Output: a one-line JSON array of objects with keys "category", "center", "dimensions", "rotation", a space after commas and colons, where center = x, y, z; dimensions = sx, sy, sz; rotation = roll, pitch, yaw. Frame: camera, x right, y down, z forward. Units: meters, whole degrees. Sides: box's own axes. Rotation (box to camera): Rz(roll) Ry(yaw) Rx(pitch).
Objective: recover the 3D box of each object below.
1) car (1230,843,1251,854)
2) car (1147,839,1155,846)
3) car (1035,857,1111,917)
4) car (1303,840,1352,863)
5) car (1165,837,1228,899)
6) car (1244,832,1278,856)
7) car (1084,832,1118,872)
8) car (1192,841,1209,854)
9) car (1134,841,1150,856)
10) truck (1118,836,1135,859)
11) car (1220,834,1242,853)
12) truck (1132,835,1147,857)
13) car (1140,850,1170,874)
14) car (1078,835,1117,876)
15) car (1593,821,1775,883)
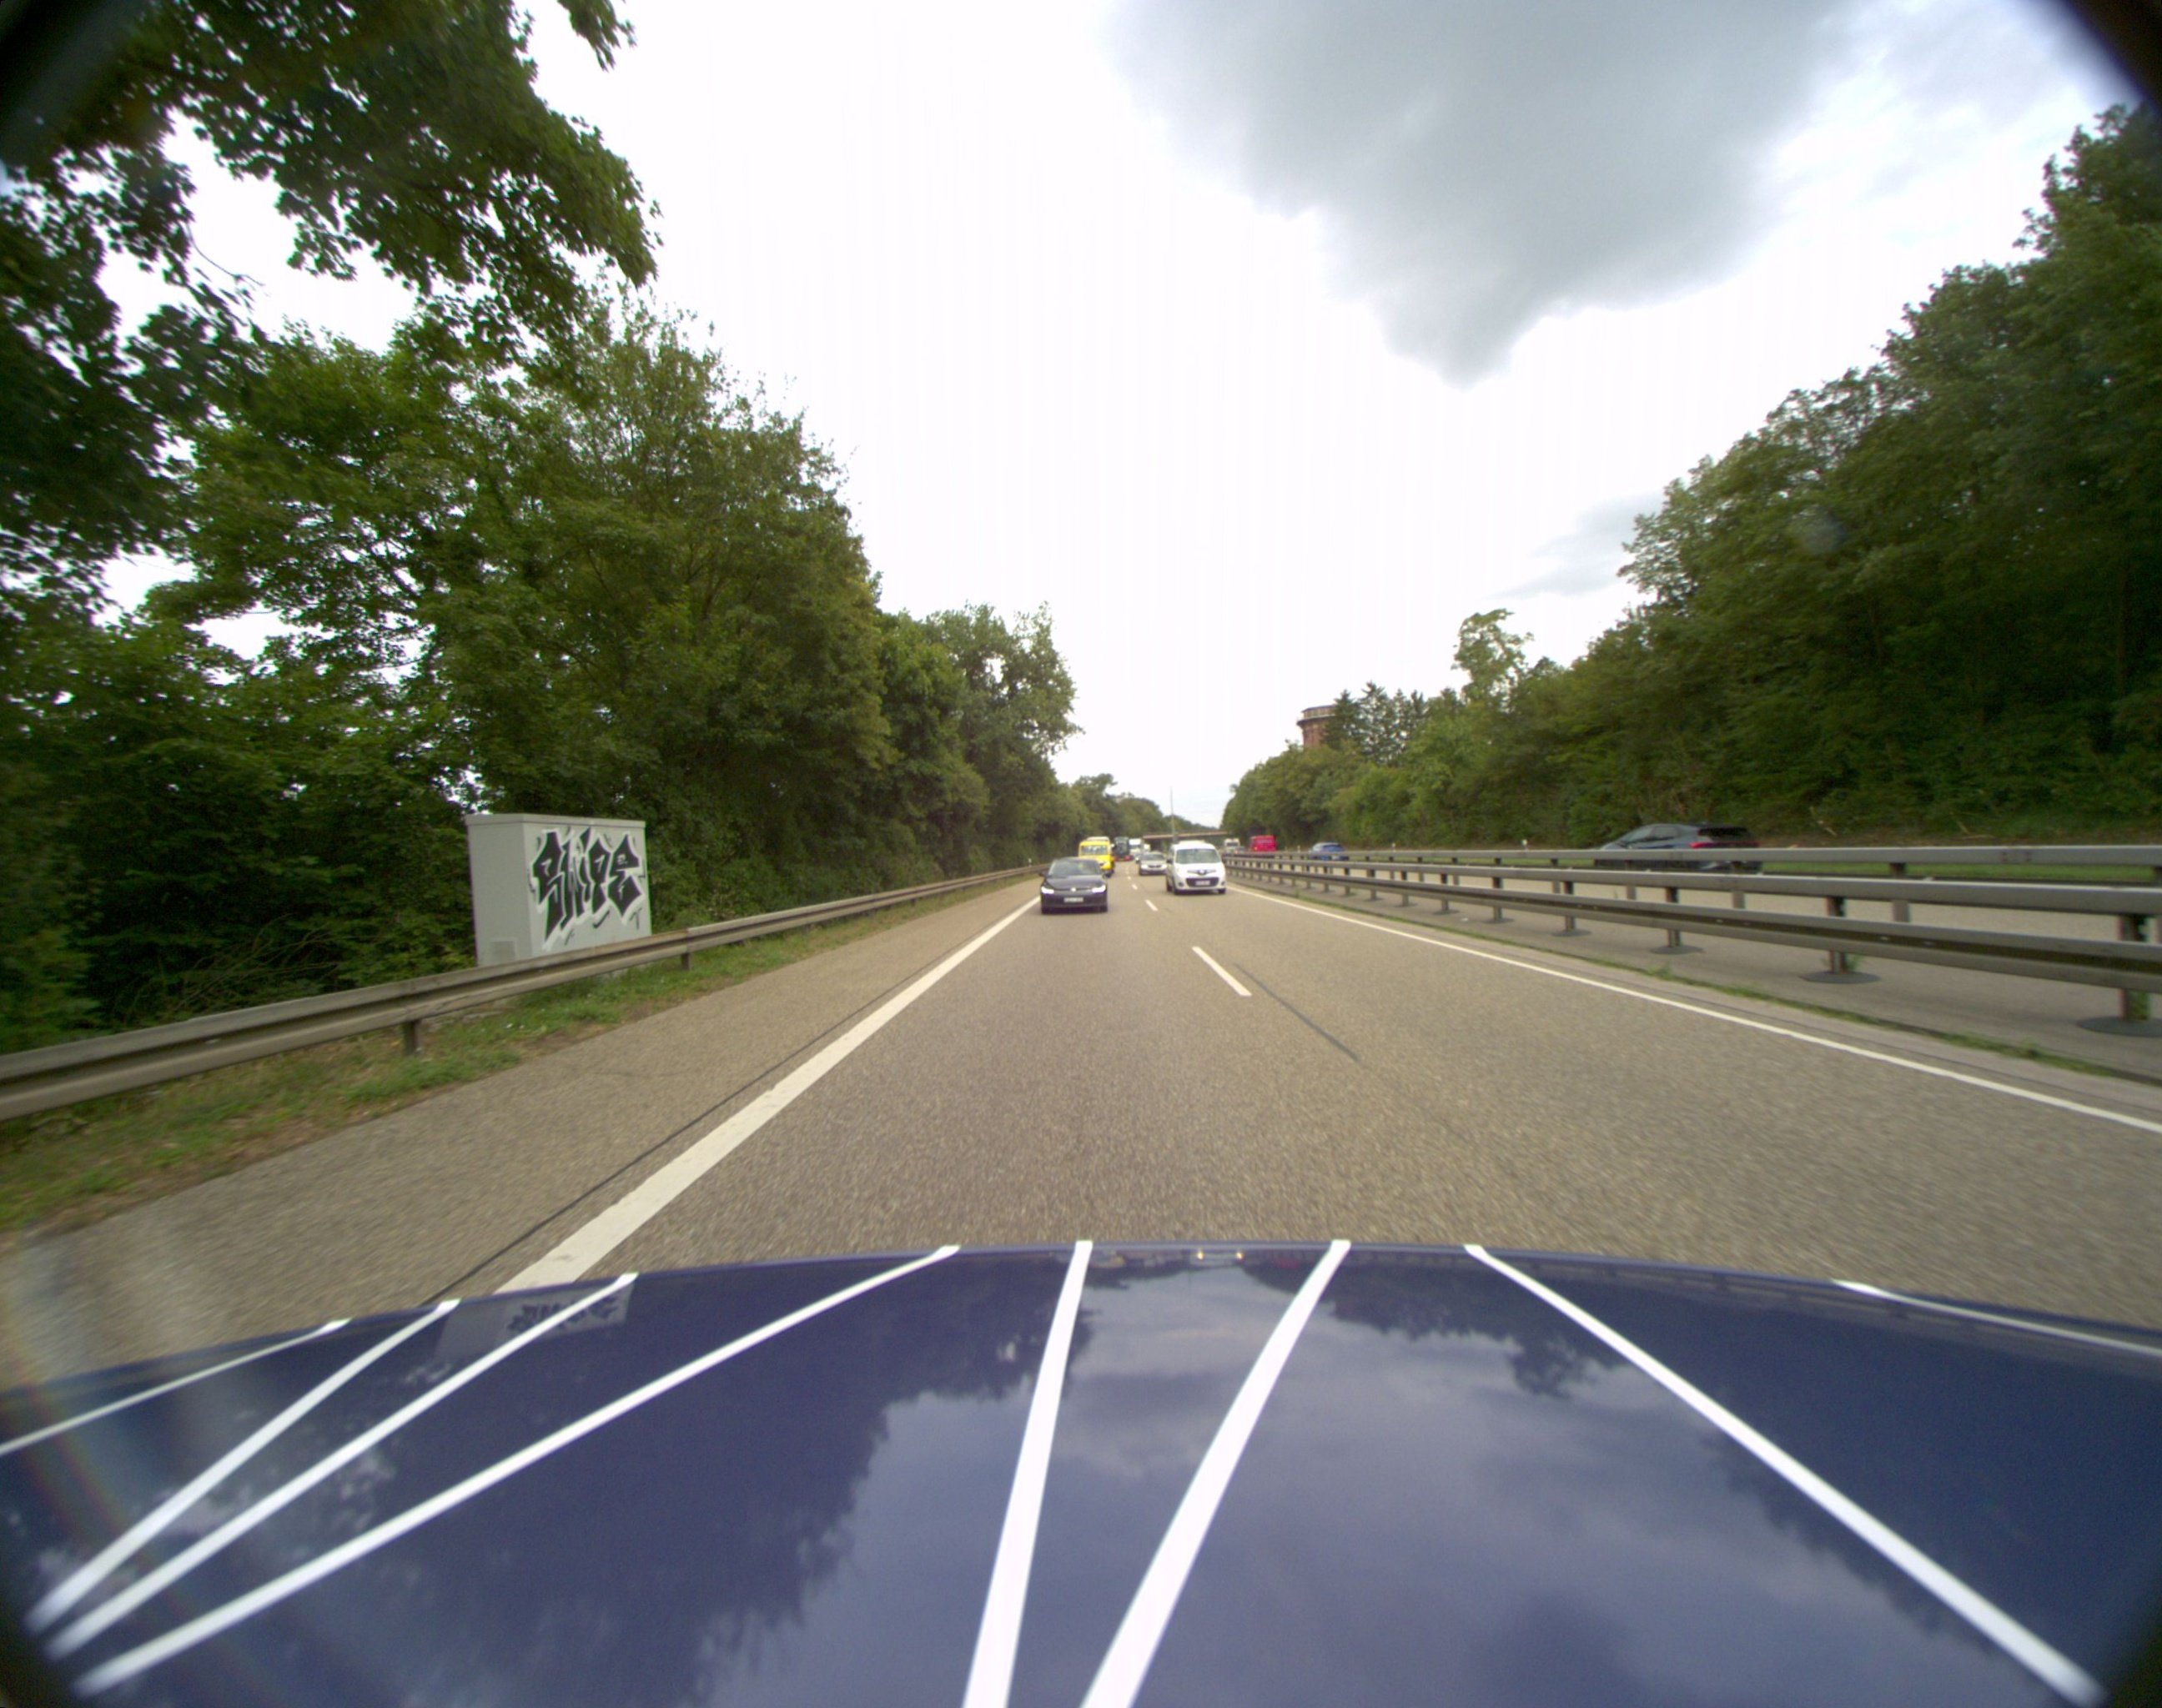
[{"category": "car", "center": [19.852, -0.644, 94.622], "dimensions": [1.778, 1.289, 4.107], "rotation": [-1, 1, 2]}, {"category": "car", "center": [17.539, -2.921, 190.255], "dimensions": [1.680, 1.840, 4.001], "rotation": [-1, 1, 4]}, {"category": "car", "center": [-0.107, 0.839, 21.295], "dimensions": [1.800, 1.398, 4.640], "rotation": [-1, 1, 3]}, {"category": "car", "center": [17.041, -0.210, 52.740], "dimensions": [1.998, 1.501, 4.505], "rotation": [-1, 1, 1]}, {"category": "car", "center": [4.071, 0.434, 27.295], "dimensions": [1.821, 1.993, 4.424], "rotation": [-1, 1, 4]}, {"category": "car", "center": [17.653, -0.974, 74.738], "dimensions": [2.071, 2.243, 5.375], "rotation": [-1, 1, 1]}, {"category": "car", "center": [1.434, -0.182, 55.312], "dimensions": [2.207, 2.732, 6.167], "rotation": [-1, 1, 1]}, {"category": "car", "center": [15.993, -0.872, 101.602], "dimensions": [1.786, 1.554, 4.015], "rotation": [-1, 1, 2]}, {"category": "car", "center": [7.655, -0.710, 95.745], "dimensions": [1.678, 1.763, 3.937], "rotation": [-1, 1, 1]}, {"category": "truck", "center": [7.406, -1.134, 123.181], "dimensions": [2.547, 3.564, 6.458], "rotation": [-1, 1, 4]}, {"category": "car", "center": [21.798, -1.556, 110.510], "dimensions": [2.317, 2.596, 5.553], "rotation": [-1, 1, 2]}, {"category": "truck", "center": [12.433, -1.680, 161.146], "dimensions": [3.098, 4.462, 12.212], "rotation": [-1, 1, 5]}, {"category": "car", "center": [4.745, 0.484, 49.221], "dimensions": [1.772, 1.416, 4.199], "rotation": [-1, 1, 3]}, {"category": "car", "center": [1.001, 0.049, 46.494], "dimensions": [2.247, 2.334, 5.224], "rotation": [-1, 1, 1]}, {"category": "car", "center": [15.969, -0.060, 20.425], "dimensions": [1.698, 1.458, 4.089], "rotation": [-1, 1, 1]}]
